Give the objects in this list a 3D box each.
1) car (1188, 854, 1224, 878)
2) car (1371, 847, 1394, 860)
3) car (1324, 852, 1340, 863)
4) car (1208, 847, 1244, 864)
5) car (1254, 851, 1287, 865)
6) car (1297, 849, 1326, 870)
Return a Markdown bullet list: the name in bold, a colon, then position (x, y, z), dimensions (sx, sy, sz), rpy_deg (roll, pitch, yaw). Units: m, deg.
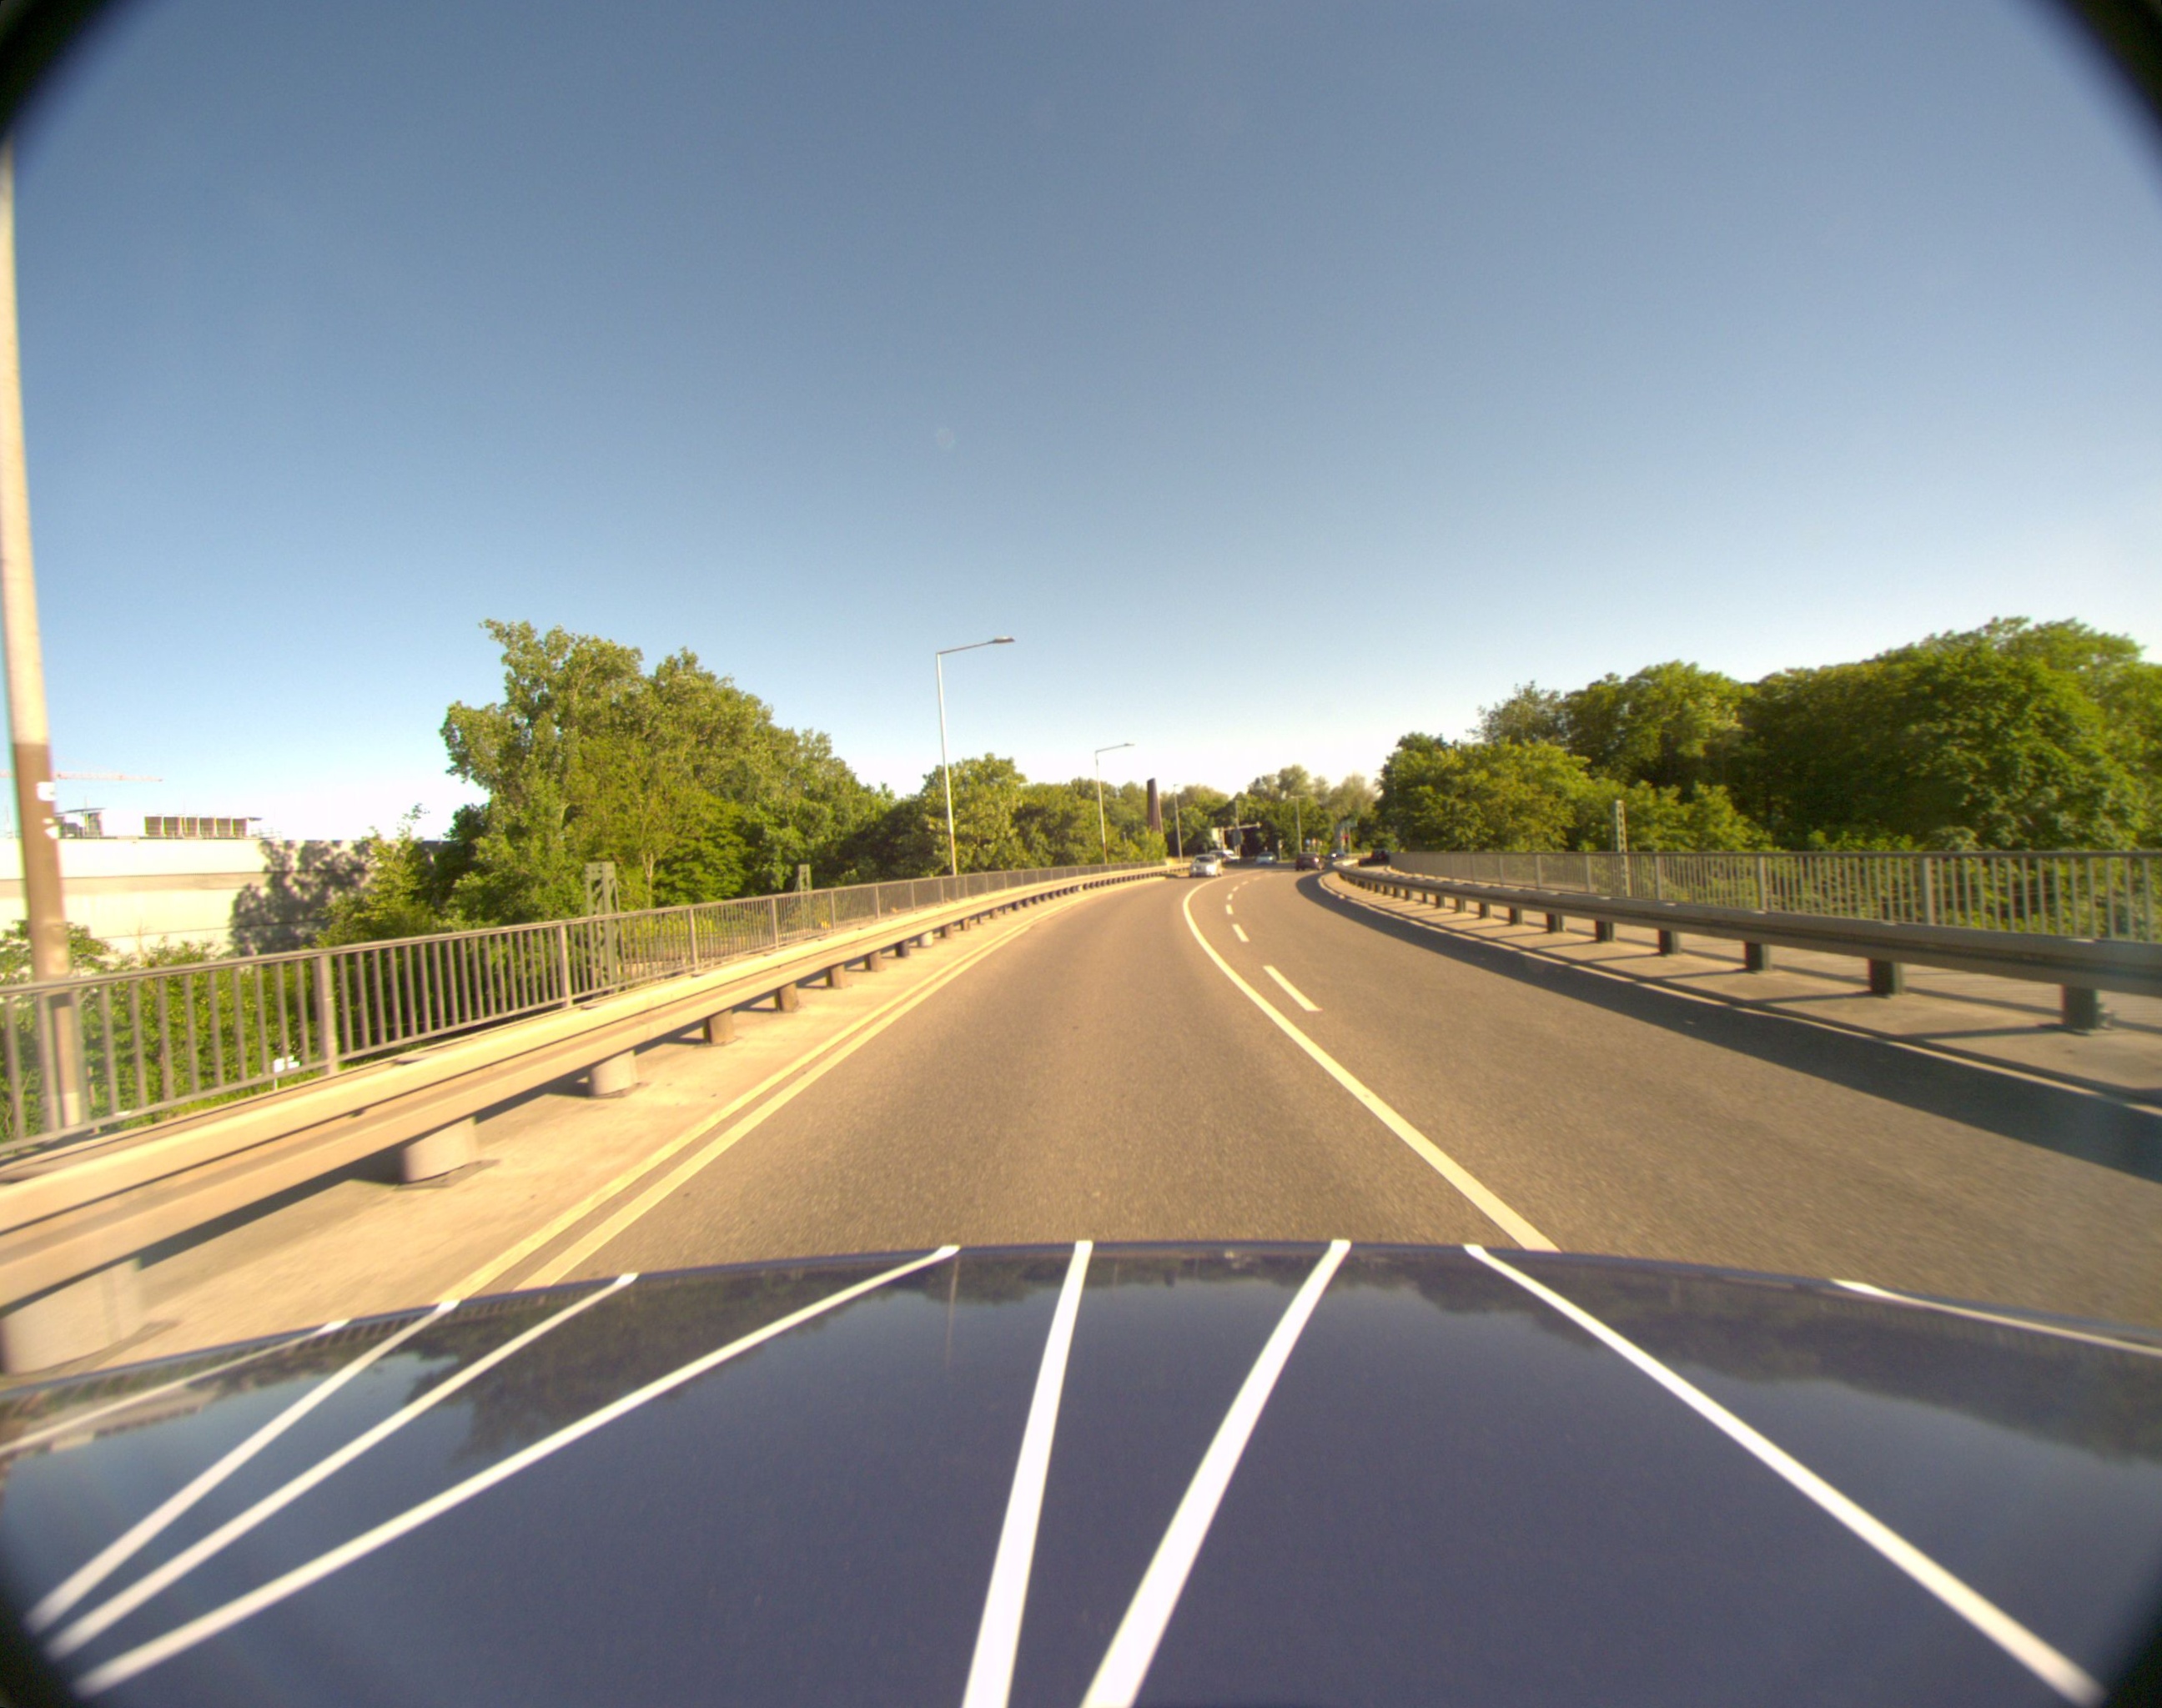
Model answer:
- **car**: position (8.179, 0.732, 49.439), dimensions (1.762, 1.428, 4.335), rpy_deg (-2, 0, 16)
- **car**: position (34.579, -0.039, 87.093), dimensions (1.782, 1.429, 3.882), rpy_deg (-2, 0, 31)
- **car**: position (38.834, 0.490, 117.551), dimensions (1.919, 1.608, 3.748), rpy_deg (-2, 0, 23)
- **car**: position (23.515, 0.224, 123.115), dimensions (2.119, 2.484, 5.693), rpy_deg (-2, -2, -37)
- **car**: position (22.145, 0.477, 88.739), dimensions (1.989, 1.465, 4.138), rpy_deg (-2, 0, 41)
- **car**: position (17.779, 0.408, 58.454), dimensions (1.875, 1.431, 4.327), rpy_deg (-2, 0, 20)
